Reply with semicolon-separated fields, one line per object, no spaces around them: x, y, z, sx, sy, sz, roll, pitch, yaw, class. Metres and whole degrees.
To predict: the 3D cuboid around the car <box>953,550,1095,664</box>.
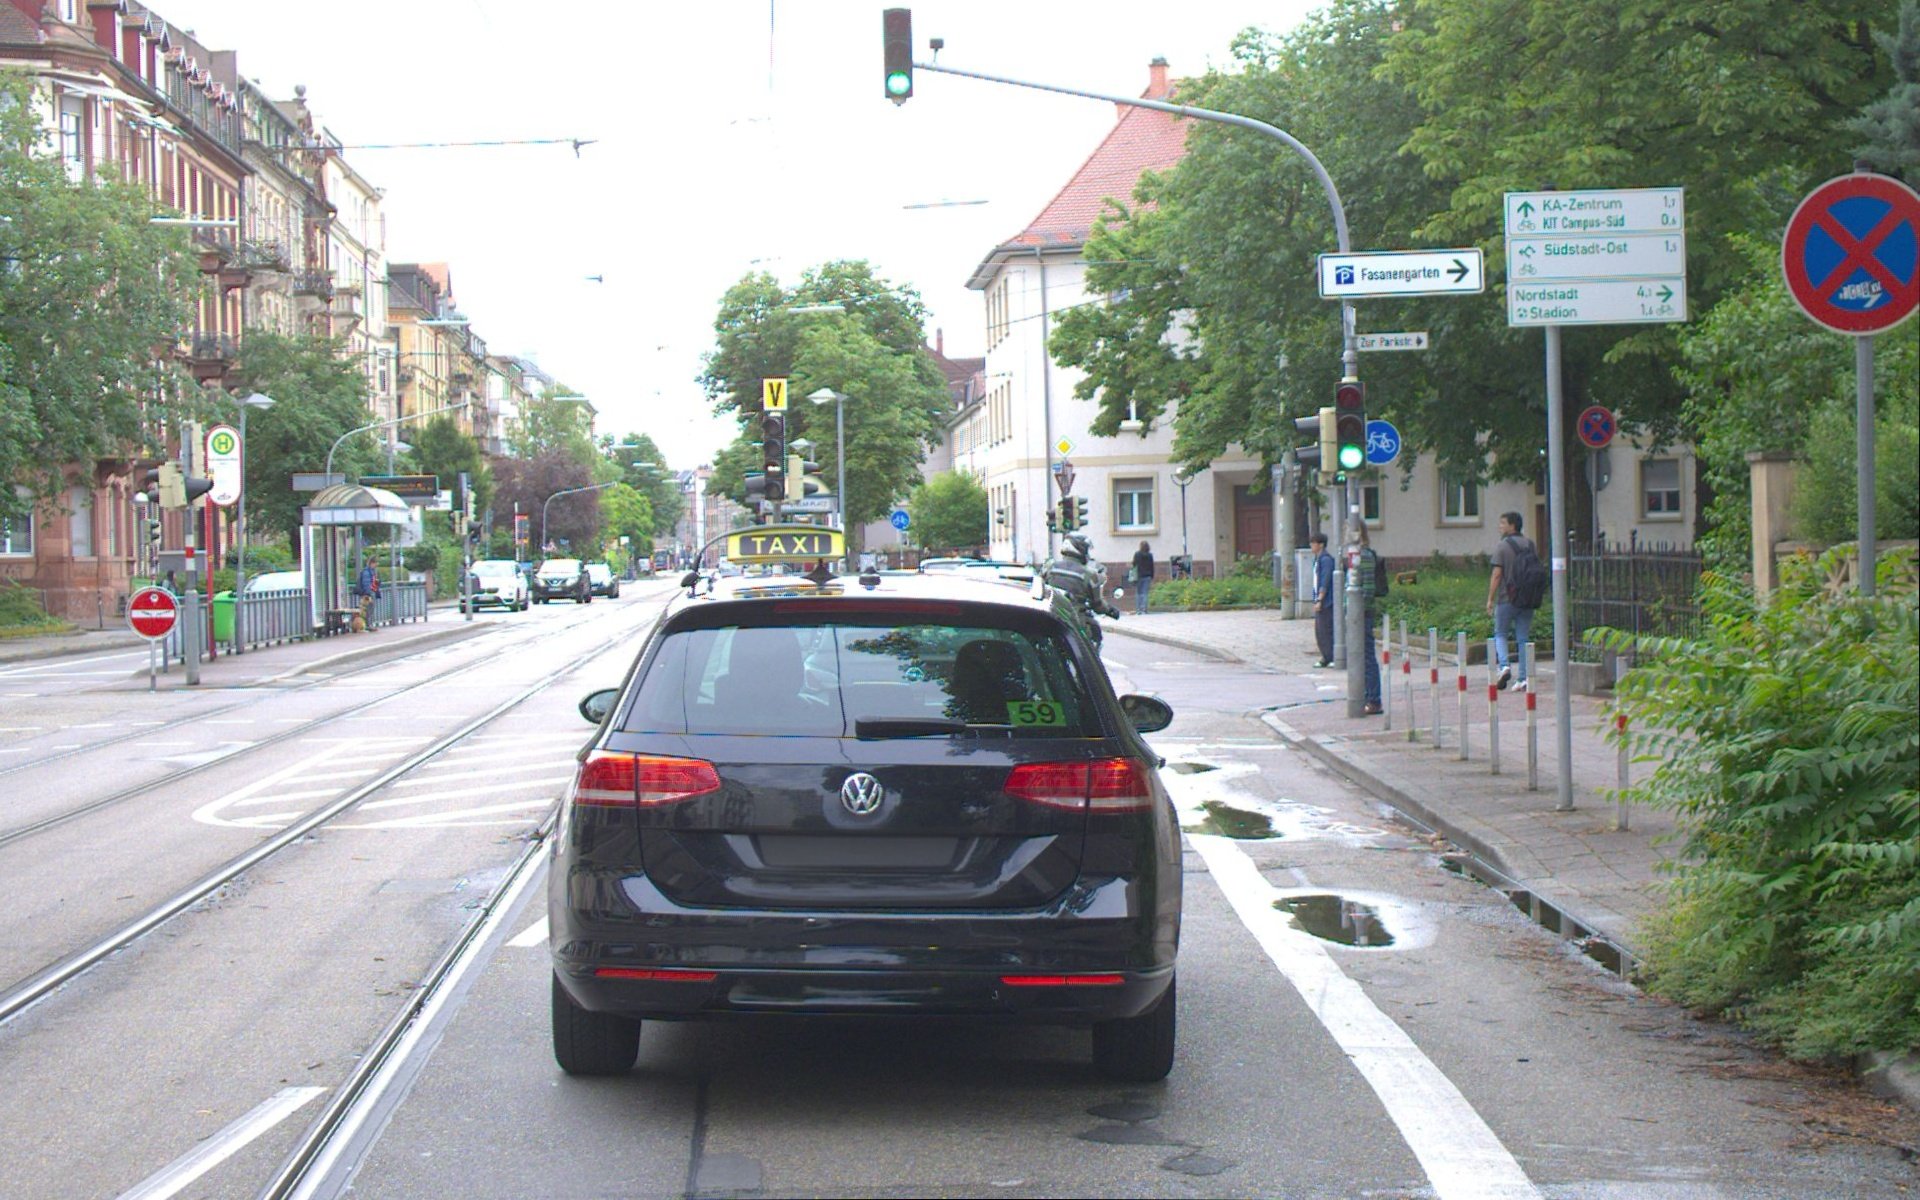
0.872;0.064;48.926;1.723;1.541;4.001;-1;1;-3;car

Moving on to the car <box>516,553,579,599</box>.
-15.017;-0.897;125.374;1.795;1.590;4.000;-1;1;0;car

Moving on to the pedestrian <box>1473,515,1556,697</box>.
5.611;0.056;34.798;0.632;1.808;0.726;-1;1;-5;pedestrian

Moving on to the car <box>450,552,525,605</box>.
-14.882;-0.690;108.422;1.795;1.590;4.000;-1;1;0;car

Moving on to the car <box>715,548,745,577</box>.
-15.925;-2.603;237.984;2.032;2.007;4.000;0;0;-3;car

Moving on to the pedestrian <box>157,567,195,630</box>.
-19.142;-0.049;83.905;0.589;1.515;0.648;-1;1;33;pedestrian

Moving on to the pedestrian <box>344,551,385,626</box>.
-12.139;-0.241;70.051;0.714;1.515;0.590;-1;1;-1;pedestrian

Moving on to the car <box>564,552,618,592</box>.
-15.318;-1.169;142.837;1.795;1.590;4.000;-1;1;0;car

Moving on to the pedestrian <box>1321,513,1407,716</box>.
3.749;0.128;31.934;0.585;1.824;0.604;-4;1;-2;pedestrian

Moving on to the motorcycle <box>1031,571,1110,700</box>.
1.120;0.342;34.598;0.447;1.231;1.906;-1;1;12;motorcycle

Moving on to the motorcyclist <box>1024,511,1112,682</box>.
1.089;-0.045;34.553;0.703;1.686;0.804;-1;1;12;motorcyclist

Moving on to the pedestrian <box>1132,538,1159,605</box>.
4.328;-0.656;80.230;0.581;1.548;0.609;-1;1;0;pedestrian

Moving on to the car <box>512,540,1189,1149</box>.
-0.382;0.596;10.851;1.723;1.541;4.001;-1;1;-3;car

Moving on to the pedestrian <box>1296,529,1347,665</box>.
4.945;-0.048;47.074;0.514;1.824;0.418;-4;1;-2;pedestrian

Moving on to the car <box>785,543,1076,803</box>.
-0.277;0.410;22.676;1.723;1.541;4.001;-1;1;-3;car
